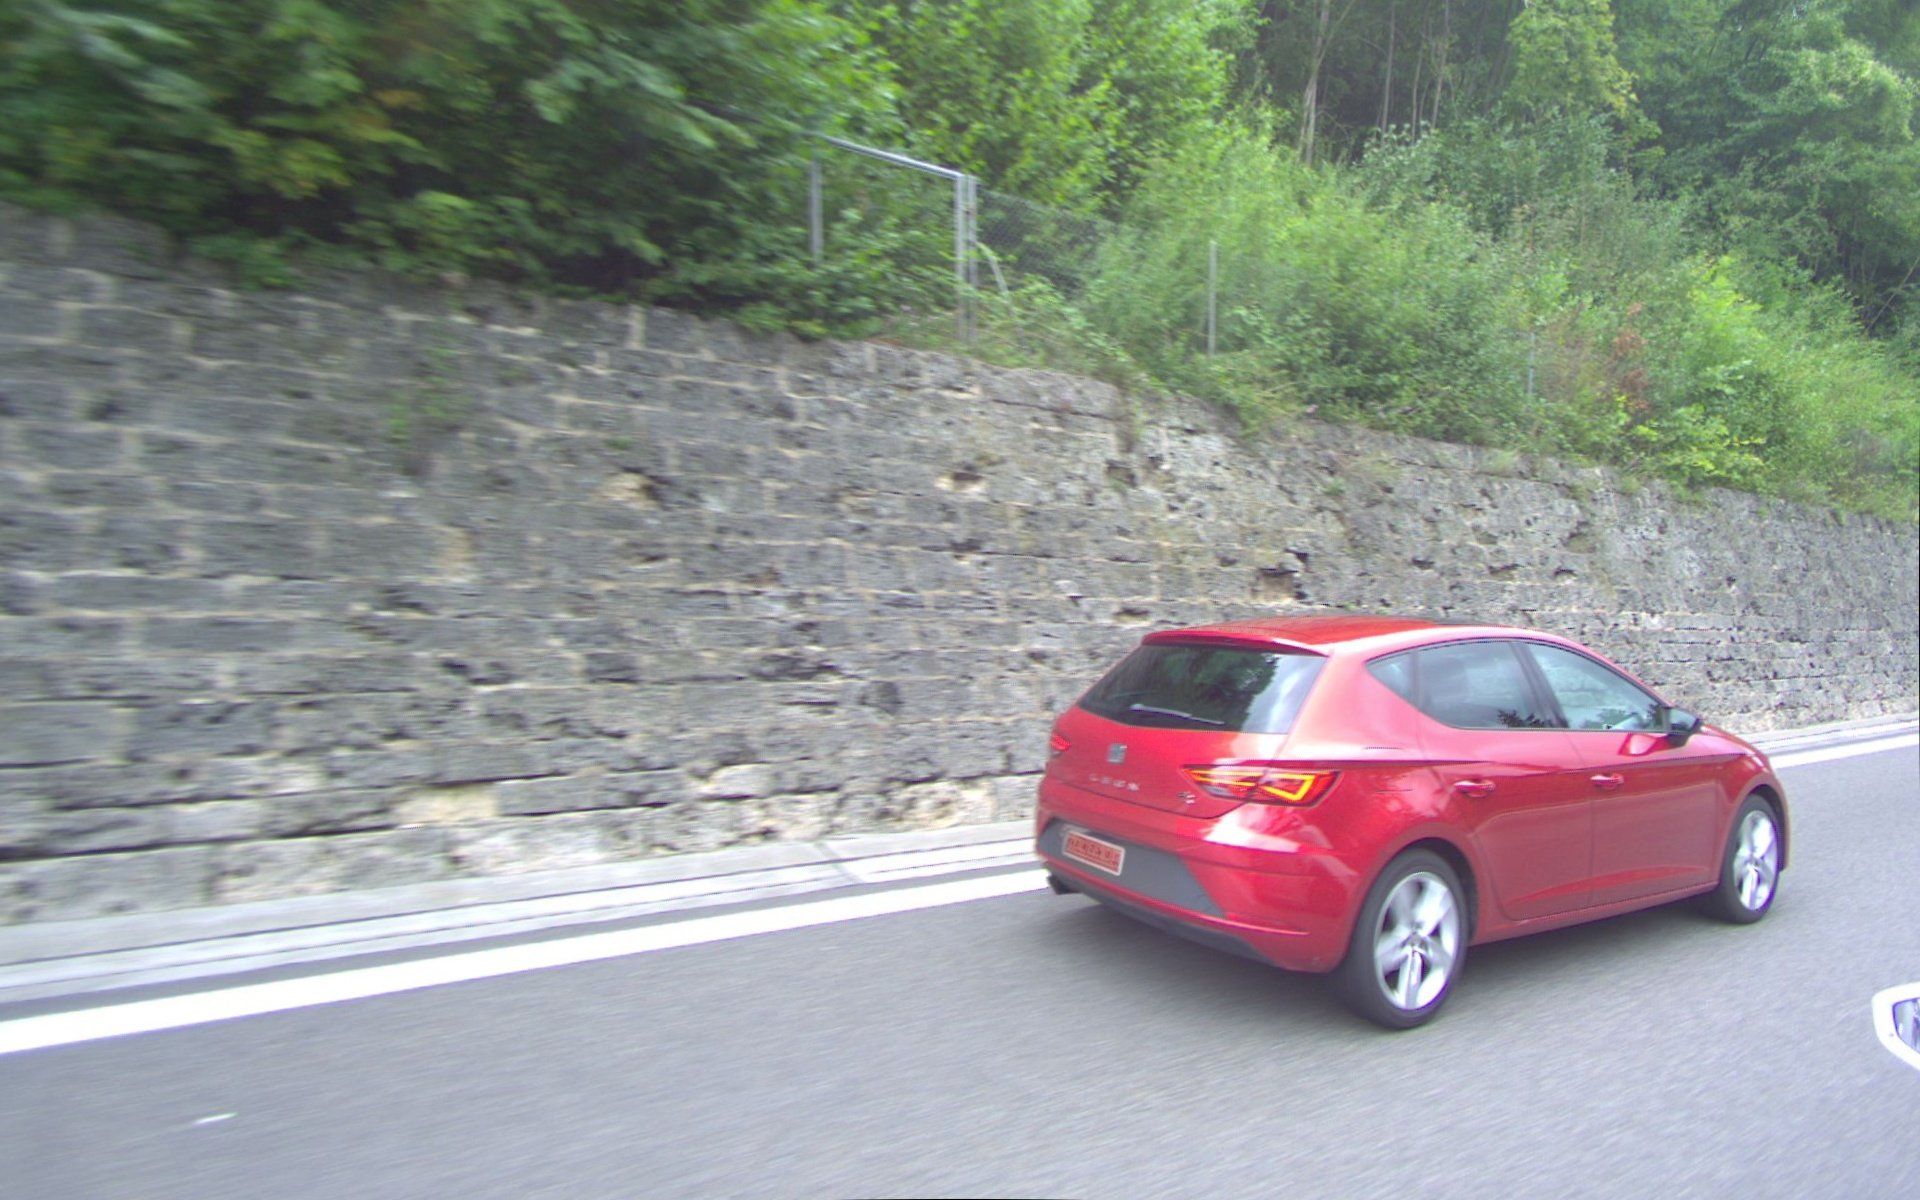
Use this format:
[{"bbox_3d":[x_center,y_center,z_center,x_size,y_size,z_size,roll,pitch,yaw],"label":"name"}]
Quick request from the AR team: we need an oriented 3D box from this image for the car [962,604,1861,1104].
[{"bbox_3d":[2.340,0.827,4.886,4.359,1.479,1.758,2,0,-30],"label":"car"}]
